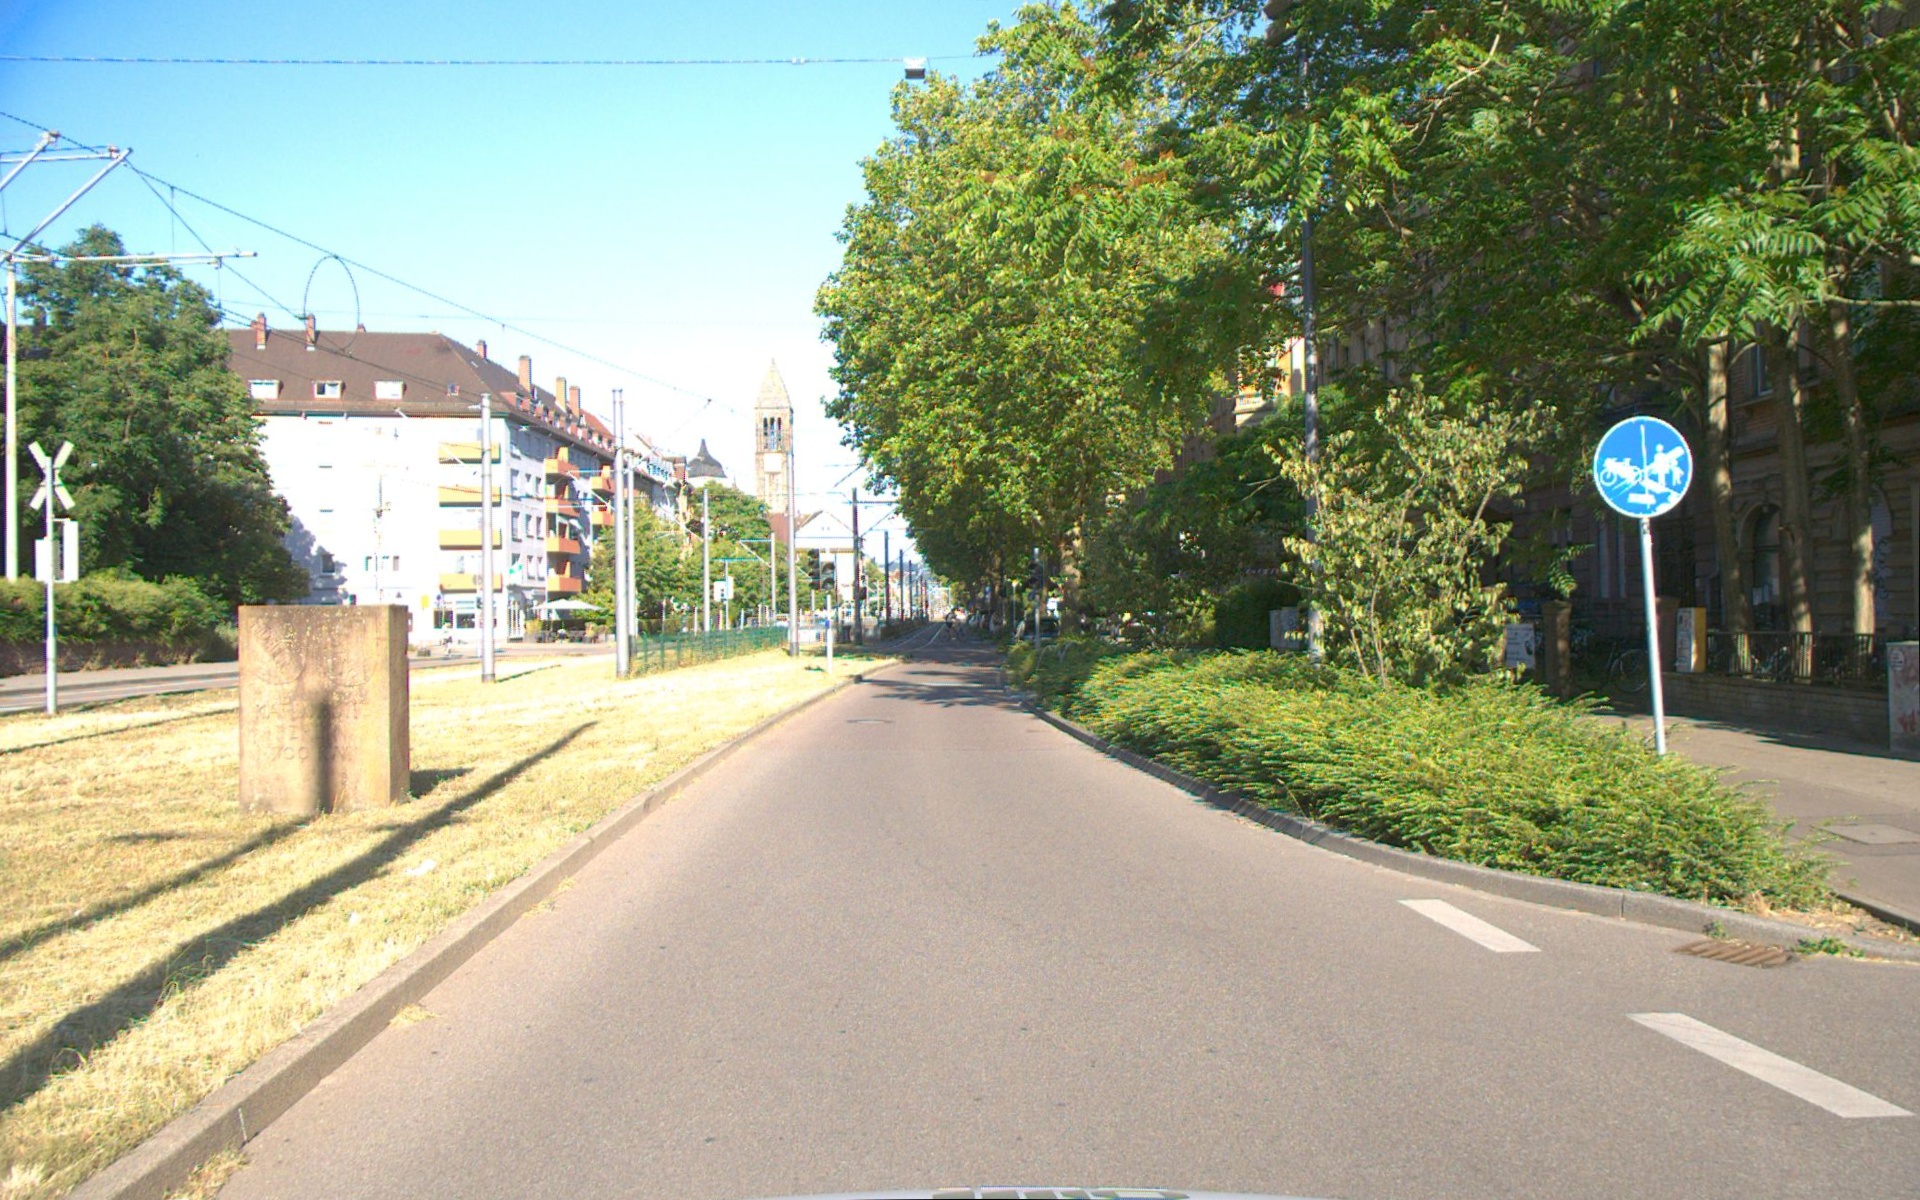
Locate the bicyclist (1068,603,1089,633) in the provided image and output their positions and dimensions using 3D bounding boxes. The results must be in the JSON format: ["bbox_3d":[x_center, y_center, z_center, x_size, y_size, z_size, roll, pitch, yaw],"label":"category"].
[{"bbox_3d":[5.892,0.906,82.364,0.798,1.429,0.823,-3,2,-9],"label":"bicyclist"}]

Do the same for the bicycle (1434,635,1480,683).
[{"bbox_3d":[9.578,1.137,31.866,0.753,0.869,0.375,-2,2,-3],"label":"bicycle"}]

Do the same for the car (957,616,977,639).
[{"bbox_3d":[0.682,2.751,164.535,1.952,2.144,3.999,1,-2,0],"label":"car"}]

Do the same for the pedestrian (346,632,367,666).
[{"bbox_3d":[-28.167,2.273,77.225,0.577,1.493,0.916,-2,2,0],"label":"pedestrian"}]

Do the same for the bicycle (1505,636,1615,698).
[{"bbox_3d":[10.059,1.119,27.759,1.618,0.941,0.539,-2,2,1],"label":"bicycle"}]

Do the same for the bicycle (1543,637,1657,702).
[{"bbox_3d":[10.296,1.114,26.636,1.618,0.941,0.539,-2,2,1],"label":"bicycle"}]

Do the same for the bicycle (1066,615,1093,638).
[{"bbox_3d":[5.927,1.305,82.370,0.798,0.973,2.313,-3,2,-9],"label":"bicycle"}]

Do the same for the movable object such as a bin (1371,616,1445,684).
[{"bbox_3d":[9.794,1.081,36.211,1.207,1.406,1.257,-2,-1,-1],"label":"movable object such as a bin"}]

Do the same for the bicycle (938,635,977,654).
[{"bbox_3d":[-0.122,2.549,94.727,2.196,0.993,0.682,-1,2,-1],"label":"bicycle"}]

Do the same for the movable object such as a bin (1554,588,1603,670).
[{"bbox_3d":[13.554,0.628,36.262,0.739,1.722,0.742,-2,2,-2],"label":"movable object such as a bin"}]

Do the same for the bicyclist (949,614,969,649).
[{"bbox_3d":[-0.060,1.783,94.721,1.118,1.923,0.682,-2,2,-1],"label":"bicyclist"}]

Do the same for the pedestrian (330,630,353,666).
[{"bbox_3d":[-28.878,2.243,77.240,0.630,1.626,0.898,-2,2,0],"label":"pedestrian"}]

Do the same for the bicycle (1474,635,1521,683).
[{"bbox_3d":[10.365,1.132,31.888,0.753,0.869,0.375,-2,2,-3],"label":"bicycle"}]

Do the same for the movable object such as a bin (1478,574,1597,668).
[{"bbox_3d":[13.353,0.489,38.433,1.514,2.031,3.230,-2,-1,-1],"label":"movable object such as a bin"}]

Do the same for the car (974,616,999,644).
[{"bbox_3d":[2.080,2.395,132.005,1.952,2.144,3.999,1,-2,0],"label":"car"}]

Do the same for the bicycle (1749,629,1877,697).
[{"bbox_3d":[13.039,0.967,25.306,1.694,0.941,0.443,-2,2,3],"label":"bicycle"}]

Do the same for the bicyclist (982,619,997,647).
[{"bbox_3d":[1.738,1.899,96.033,0.735,1.585,0.572,-3,2,-8],"label":"bicyclist"}]

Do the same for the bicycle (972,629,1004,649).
[{"bbox_3d":[1.634,2.260,96.028,1.781,1.066,0.572,-3,2,-9],"label":"bicycle"}]

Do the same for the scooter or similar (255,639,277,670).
[{"bbox_3d":[-30.567,2.403,72.890,0.393,1.283,1.231,-2,2,0],"label":"scooter or similar"}]

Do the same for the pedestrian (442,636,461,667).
[{"bbox_3d":[-25.784,2.607,83.850,0.674,1.493,0.591,-2,2,3],"label":"pedestrian"}]

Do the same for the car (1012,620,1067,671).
[{"bbox_3d":[2.603,1.478,54.978,1.610,1.538,4.182,-2,0,0],"label":"car"}]
